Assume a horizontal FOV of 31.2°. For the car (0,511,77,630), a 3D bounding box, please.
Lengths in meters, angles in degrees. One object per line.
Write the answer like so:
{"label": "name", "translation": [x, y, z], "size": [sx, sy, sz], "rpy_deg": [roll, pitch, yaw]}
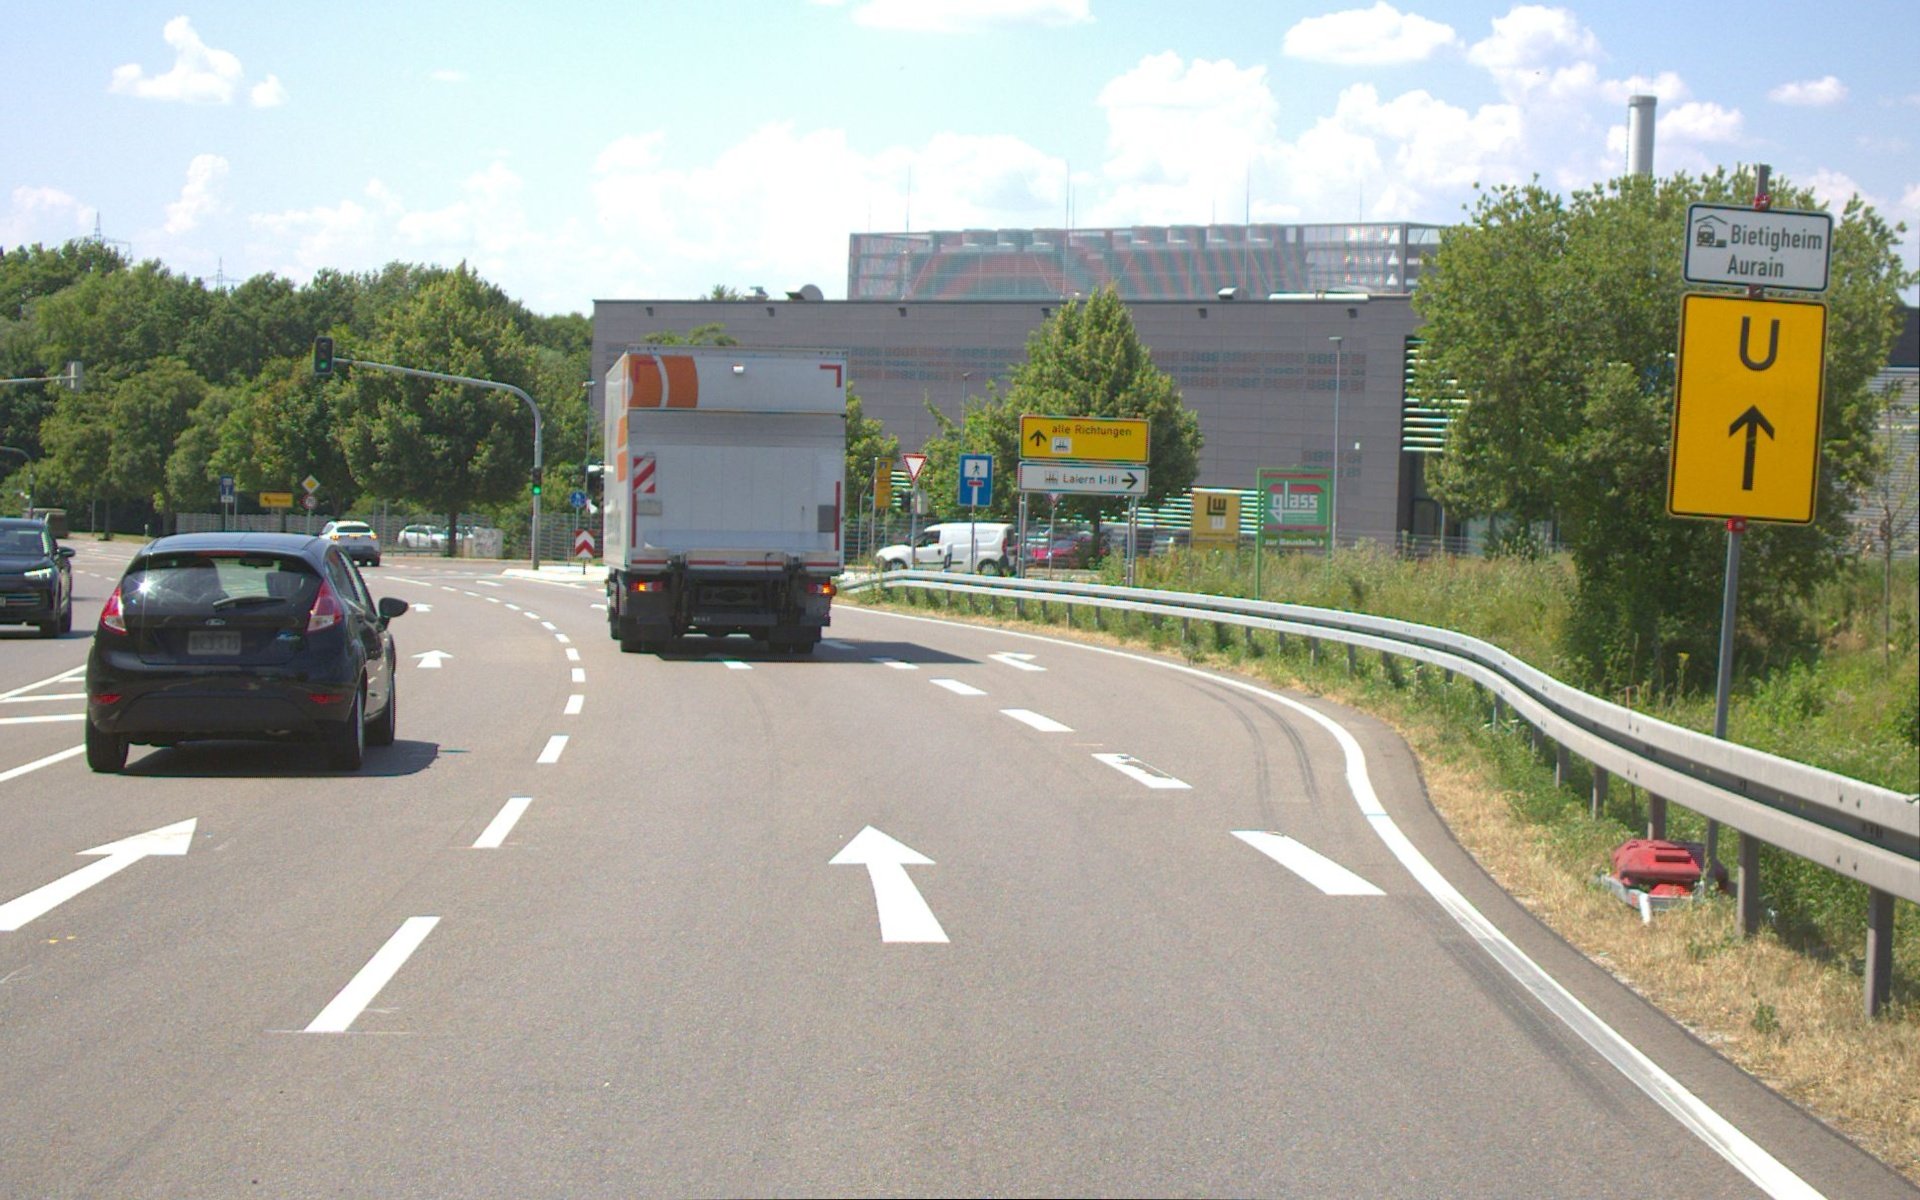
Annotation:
{"label": "car", "translation": [-13.503, -0.448, 48.315], "size": [1.993, 1.587, 4.684], "rpy_deg": [0, 1, -13]}

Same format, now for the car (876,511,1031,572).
{"label": "car", "translation": [-0.208, -1.958, 114.093], "size": [4.748, 1.925, 2.152], "rpy_deg": [1, 1, 12]}

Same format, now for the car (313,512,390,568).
{"label": "car", "translation": [-20.473, -2.033, 115.582], "size": [1.943, 1.658, 4.002], "rpy_deg": [3, 1, -17]}

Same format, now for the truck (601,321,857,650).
{"label": "truck", "translation": [-3.109, -1.471, 43.860], "size": [2.803, 3.698, 9.110], "rpy_deg": [1, 2, -6]}

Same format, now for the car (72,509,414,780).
{"label": "car", "translation": [-4.594, 0.212, 22.528], "size": [1.652, 1.488, 4.209], "rpy_deg": [1, 3, -5]}
